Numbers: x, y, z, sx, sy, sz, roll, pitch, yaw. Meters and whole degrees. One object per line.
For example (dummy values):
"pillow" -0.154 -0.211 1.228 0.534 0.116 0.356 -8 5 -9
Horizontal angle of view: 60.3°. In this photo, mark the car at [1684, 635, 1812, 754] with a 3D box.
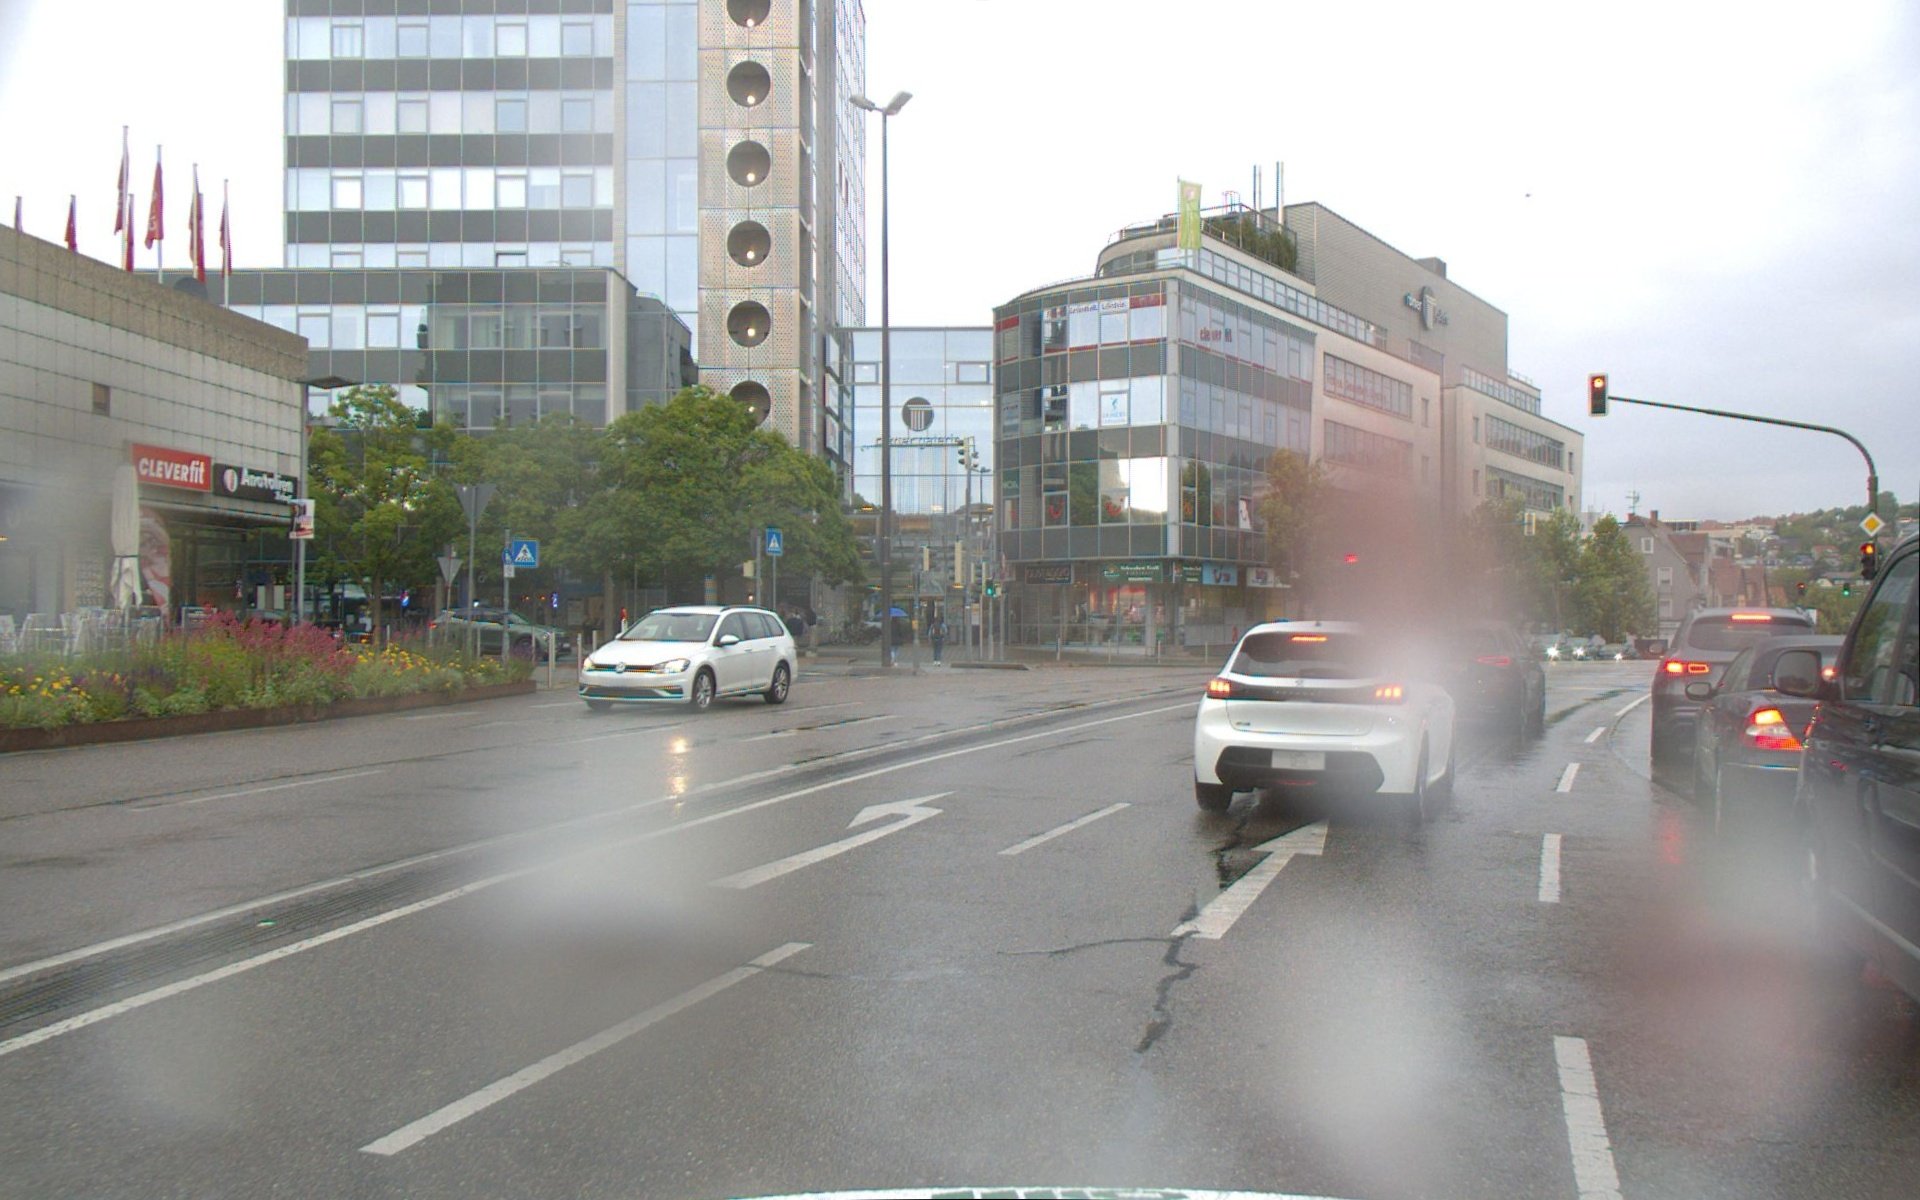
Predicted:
"car" 11.887 1.347 25.128 1.601 1.473 4.267 1 1 24

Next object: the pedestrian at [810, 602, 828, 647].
"pedestrian" -6.430 1.117 75.471 0.746 2.049 0.714 0 -1 4

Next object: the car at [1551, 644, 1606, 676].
"car" 33.931 3.285 90.714 1.742 1.622 4.574 -6 -4 33

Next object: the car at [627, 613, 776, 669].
"car" -7.817 1.219 50.212 4.103 1.623 1.871 1 -1 6

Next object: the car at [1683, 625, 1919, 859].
"car" 6.452 0.914 12.441 1.598 1.410 4.515 1 0 20

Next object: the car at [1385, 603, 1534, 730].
"car" 6.866 0.864 22.583 1.777 1.556 3.813 0 -1 19

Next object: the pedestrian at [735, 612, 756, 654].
"pedestrian" -9.669 1.482 74.424 0.741 1.901 0.827 0 -1 -24

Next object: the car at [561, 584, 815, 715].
"car" -3.850 0.674 24.267 1.846 1.712 4.508 1 -1 17

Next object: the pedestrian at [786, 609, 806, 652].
"pedestrian" -7.467 1.386 75.292 0.813 1.901 0.754 0 -1 2

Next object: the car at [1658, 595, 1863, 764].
"car" 8.917 0.805 18.690 1.863 1.649 4.333 0 0 23

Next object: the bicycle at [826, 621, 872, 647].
"bicycle" -5.463 1.656 81.432 2.226 1.268 0.676 0 -1 1

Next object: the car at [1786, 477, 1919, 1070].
"car" 4.150 0.577 5.373 1.954 1.927 4.588 1 -1 18

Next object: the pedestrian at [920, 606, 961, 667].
"pedestrian" -0.604 1.135 51.447 0.831 1.851 1.021 -1 -2 34

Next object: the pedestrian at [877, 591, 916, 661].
"pedestrian" -1.899 0.757 49.290 1.139 2.049 1.327 0 -1 -4

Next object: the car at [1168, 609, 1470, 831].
"car" 3.046 0.841 13.409 1.833 1.488 3.873 1 0 21

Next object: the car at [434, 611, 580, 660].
"car" -14.128 1.091 51.685 3.959 1.445 1.871 0 -1 9
